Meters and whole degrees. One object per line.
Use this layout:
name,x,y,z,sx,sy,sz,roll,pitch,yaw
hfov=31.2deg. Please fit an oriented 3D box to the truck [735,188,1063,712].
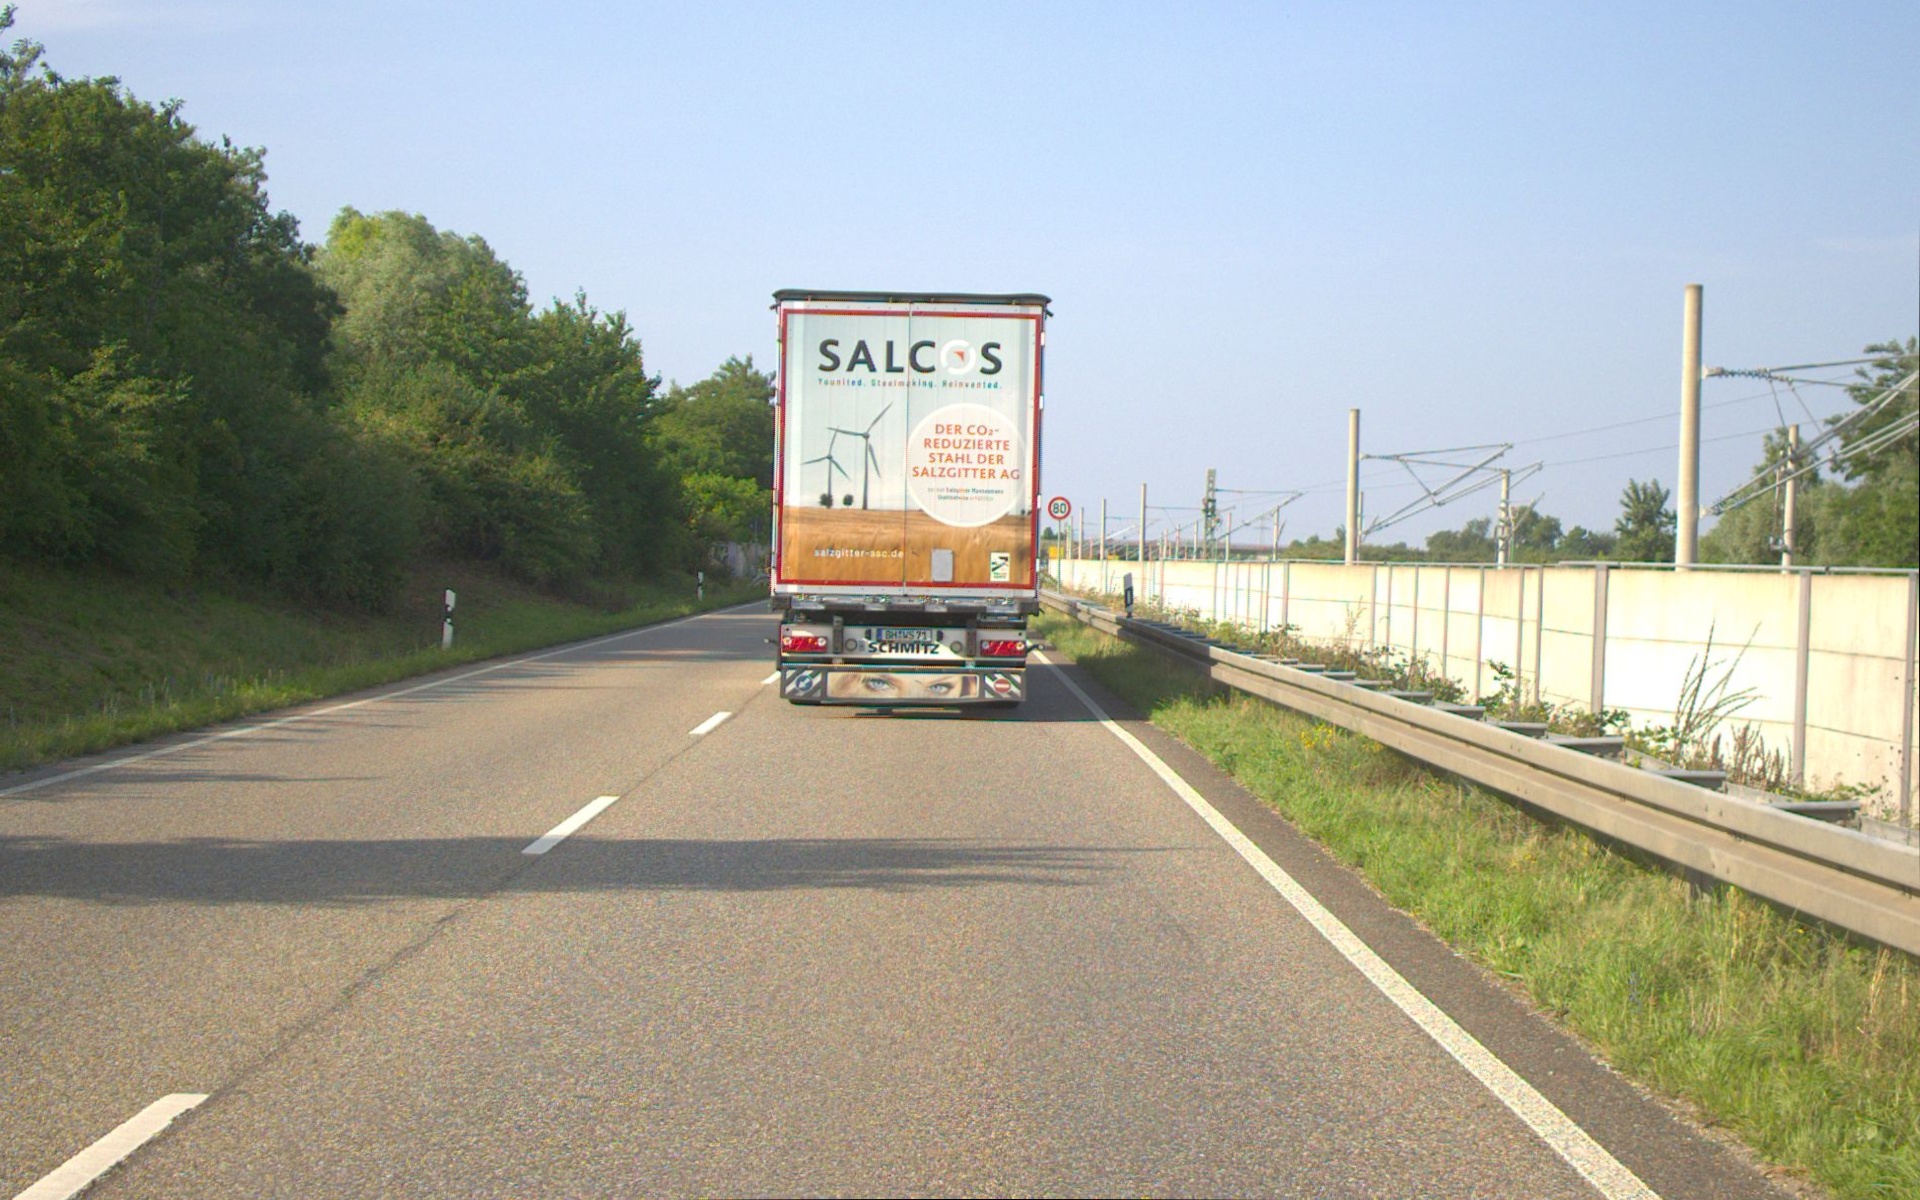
truck,-0.724,-1.508,38.234,3.033,4.903,11.685,1,1,-1
